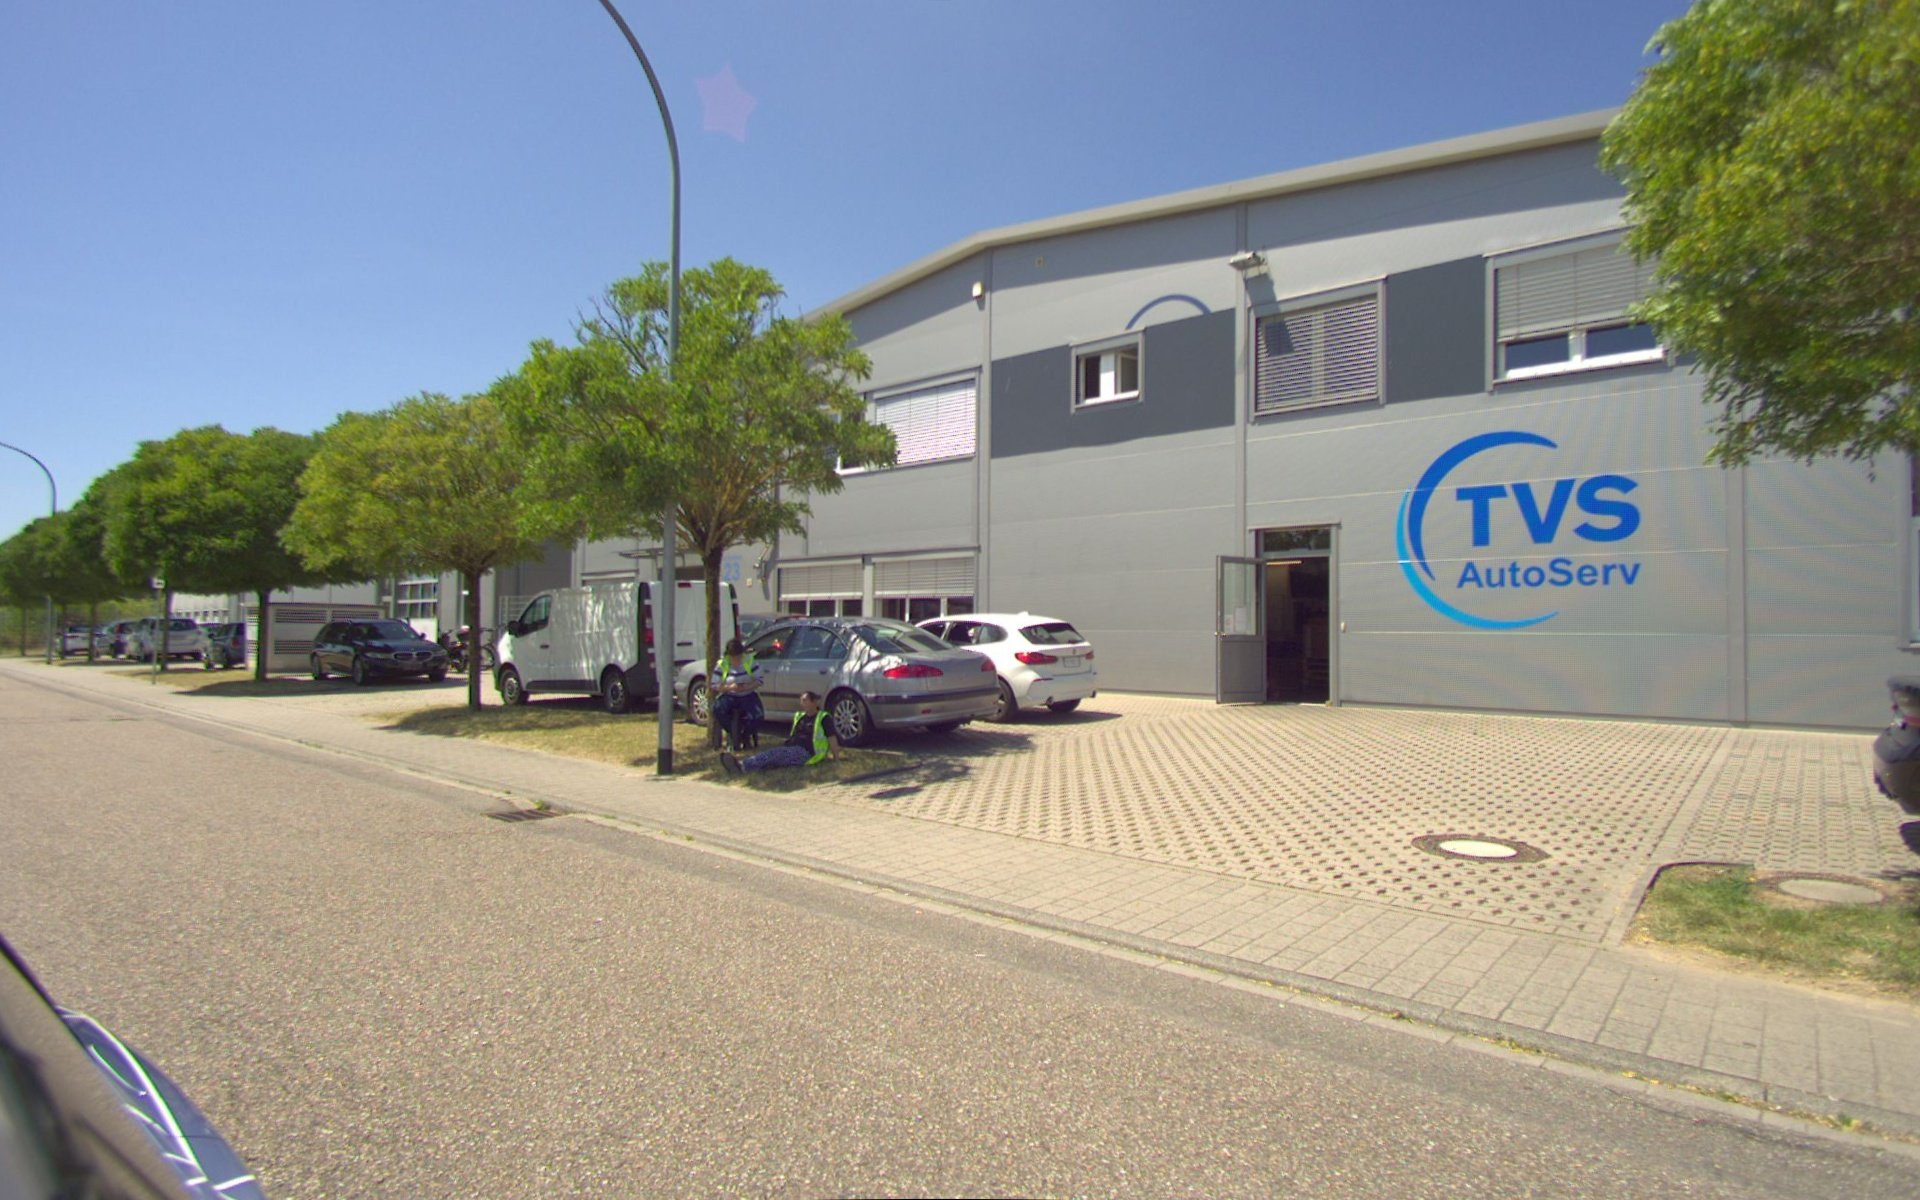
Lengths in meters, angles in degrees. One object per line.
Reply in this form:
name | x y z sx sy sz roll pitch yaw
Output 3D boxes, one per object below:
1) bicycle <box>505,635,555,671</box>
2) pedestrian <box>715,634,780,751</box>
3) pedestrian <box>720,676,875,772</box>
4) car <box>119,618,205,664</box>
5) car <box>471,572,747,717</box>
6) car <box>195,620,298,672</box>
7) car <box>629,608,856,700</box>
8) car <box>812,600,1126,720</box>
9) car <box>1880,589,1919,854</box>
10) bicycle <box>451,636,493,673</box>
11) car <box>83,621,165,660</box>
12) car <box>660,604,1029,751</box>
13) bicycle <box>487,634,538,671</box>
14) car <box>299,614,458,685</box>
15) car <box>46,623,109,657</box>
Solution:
bicycle | -12.377 1.508 29.100 2.063 0.985 0.431 -2 -1 40
pedestrian | -2.258 0.963 10.756 0.472 1.159 0.556 -2 2 -39
pedestrian | -1.608 1.206 10.108 0.753 0.754 1.343 -1 0 43
car | -29.593 1.485 37.485 4.538 1.585 1.747 -2 -1 42
car | -5.852 0.668 16.519 5.120 2.034 1.819 -2 0 39
car | -21.571 1.357 30.560 3.839 1.464 1.747 -2 -1 42
car | -4.015 0.930 18.417 4.083 1.451 1.908 -2 0 39
car | 0.016 0.793 14.870 4.464 1.476 1.906 -2 0 42
car | 7.743 0.624 4.930 4.688 1.476 1.907 -2 0 40
bicycle | -13.390 1.479 27.767 1.695 0.985 0.347 -2 -1 40
car | -33.708 1.630 40.797 3.697 1.511 1.667 -2 -2 36
car | -1.621 0.806 12.782 4.840 1.451 1.906 0 1 42
bicycle | -12.661 1.465 28.621 2.063 0.985 0.431 -2 -1 40
car | -13.573 1.105 23.494 4.711 1.464 1.747 -2 0 41
car | -41.951 1.877 48.095 4.327 1.511 1.804 -2 -1 43
